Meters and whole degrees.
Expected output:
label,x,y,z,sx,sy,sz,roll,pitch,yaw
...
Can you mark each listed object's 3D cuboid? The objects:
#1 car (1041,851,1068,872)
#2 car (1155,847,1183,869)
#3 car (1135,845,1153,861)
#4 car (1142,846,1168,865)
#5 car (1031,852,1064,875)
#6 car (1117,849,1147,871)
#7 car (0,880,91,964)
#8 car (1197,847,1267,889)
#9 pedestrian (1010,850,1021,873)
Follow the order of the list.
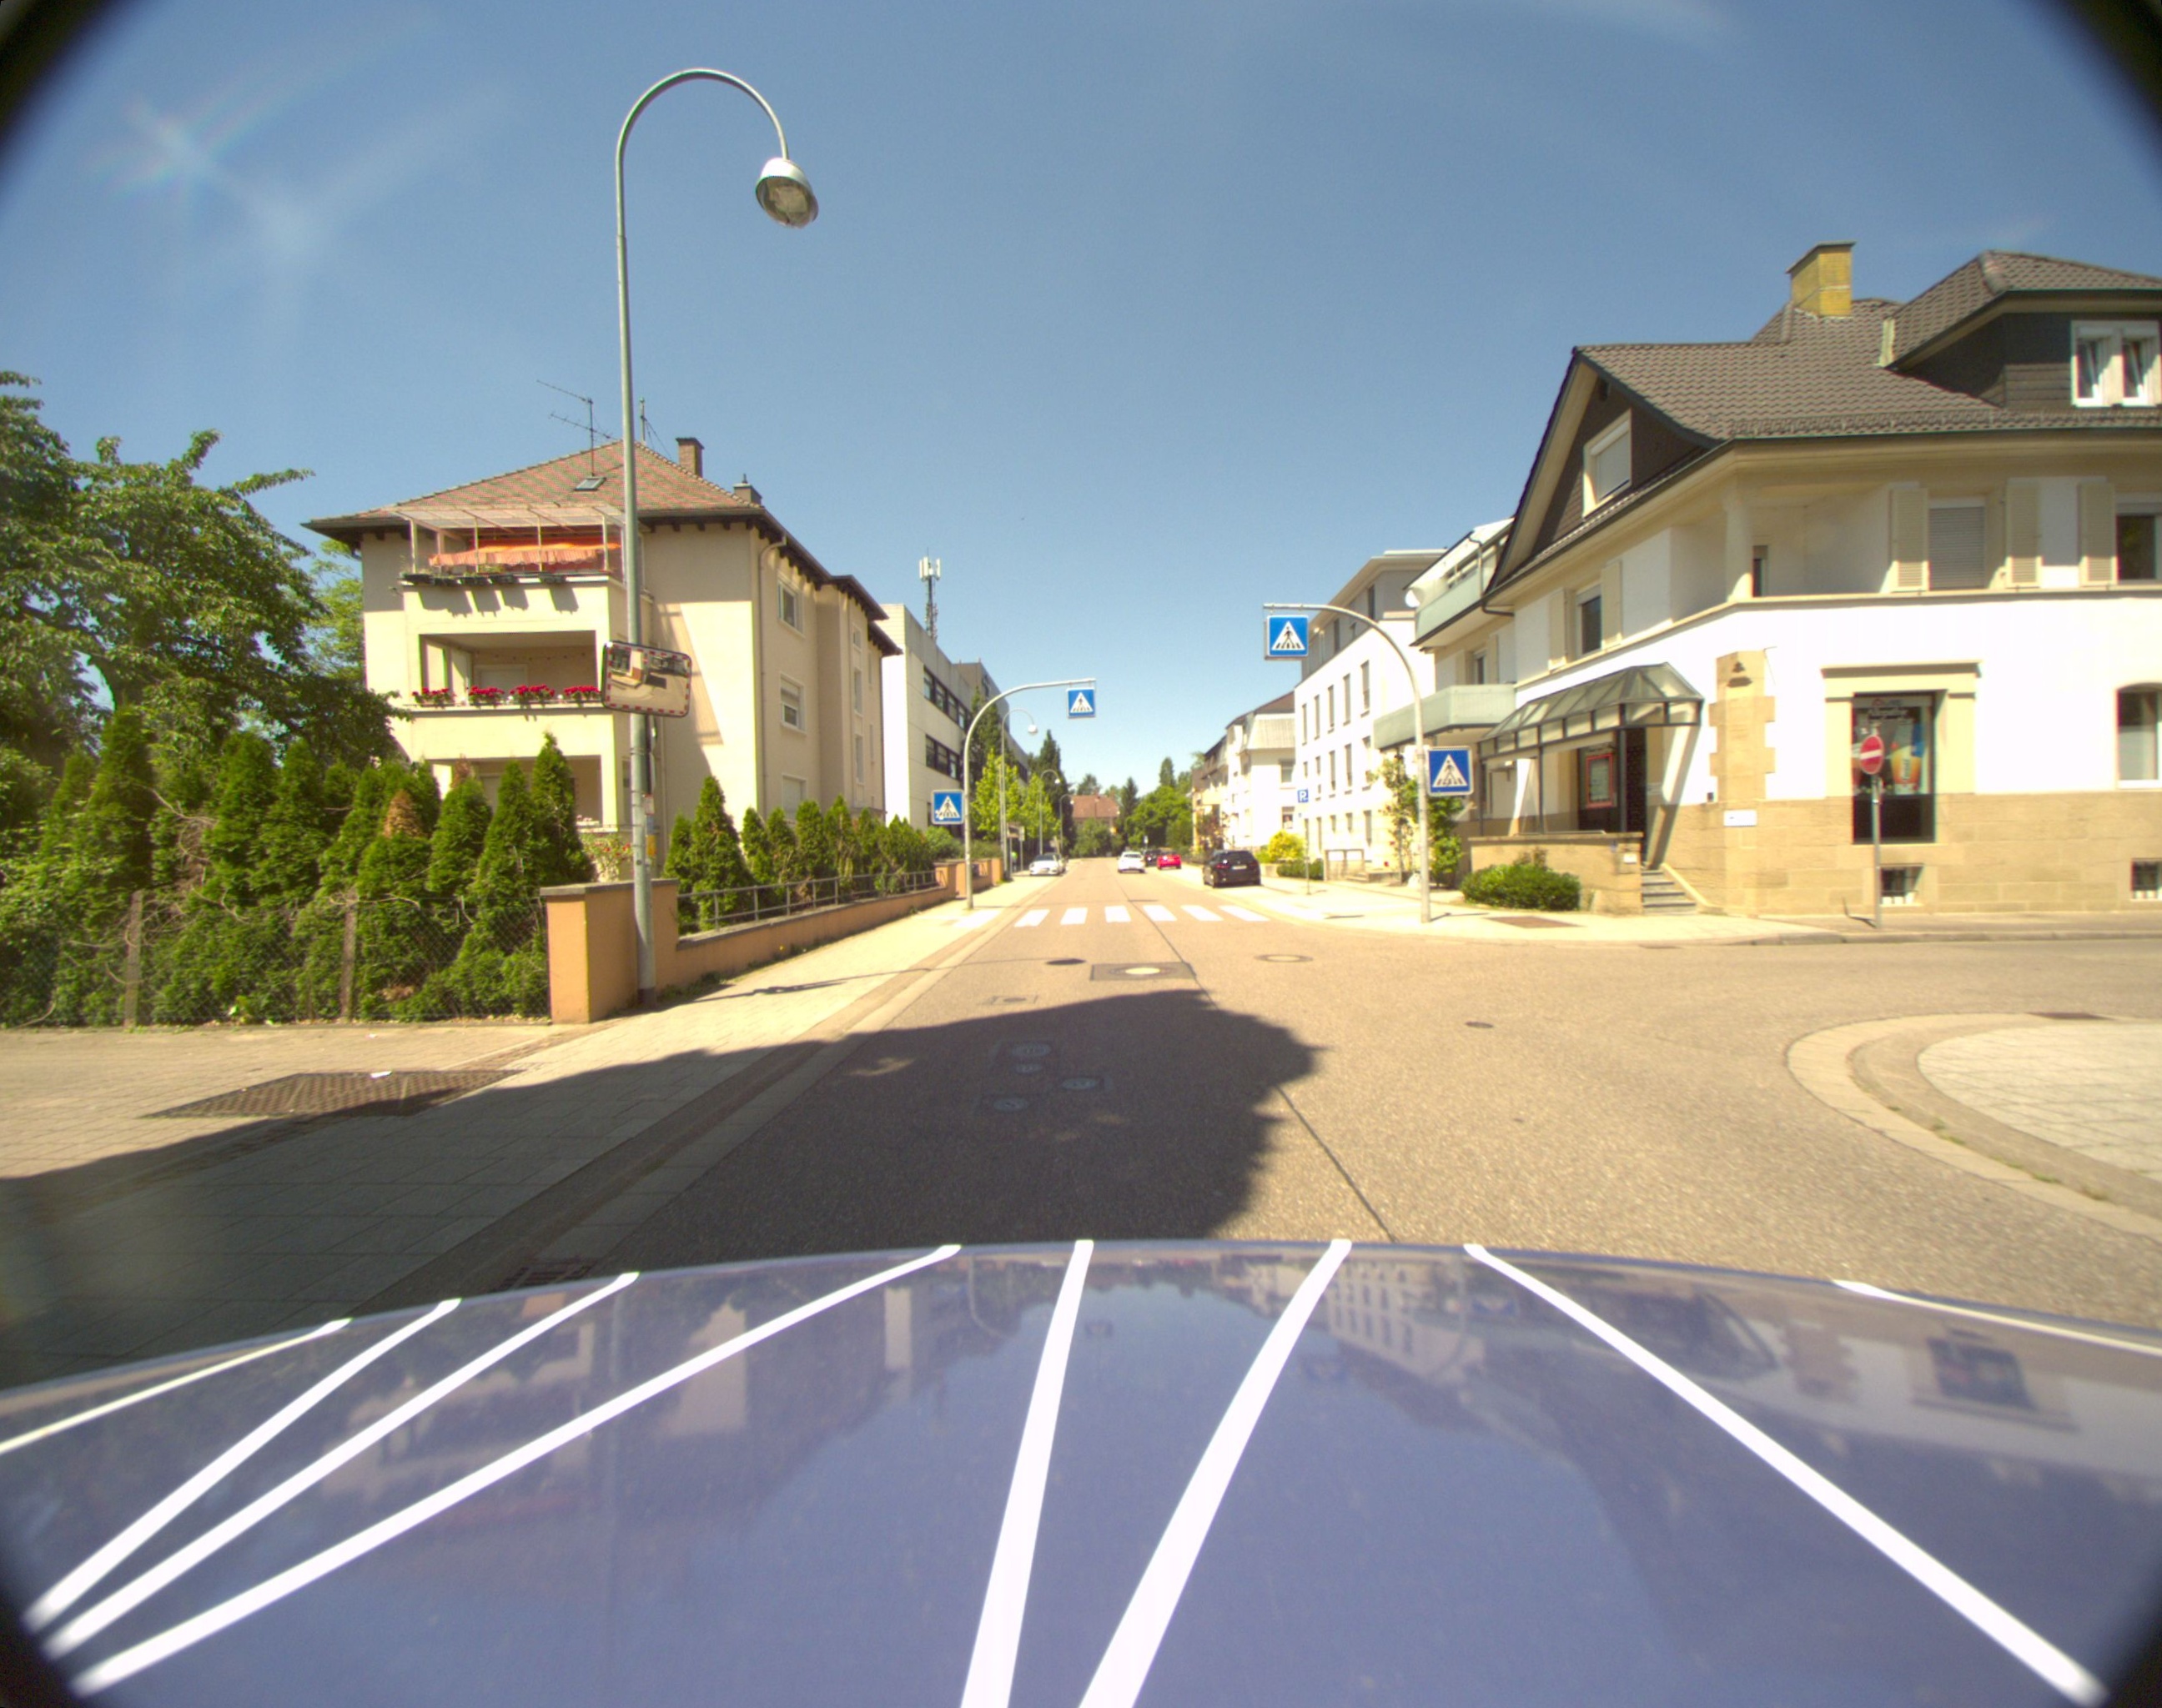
label,x,y,z,sx,sy,sz,roll,pitch,yaw
car,-1.937,0.529,56.517,1.714,1.490,3.877,0,1,2
car,6.759,0.273,58.594,1.737,1.444,4.260,-4,1,2
car,7.418,-0.100,89.788,1.925,1.681,4.287,-4,1,3
car,6.766,0.111,69.891,1.925,1.577,4.435,-4,1,2
car,-2.237,0.613,51.315,1.920,1.460,4.880,-1,1,1
car,3.484,0.411,52.754,1.812,1.474,3.868,0,1,0
car,-20.315,1.273,13.235,1.612,1.450,3.502,-1,1,-3
car,6.057,0.489,31.074,1.921,1.444,5.149,-4,1,2
pedestrian,-4.877,0.537,56.610,0.680,1.690,1.050,0,1,2
